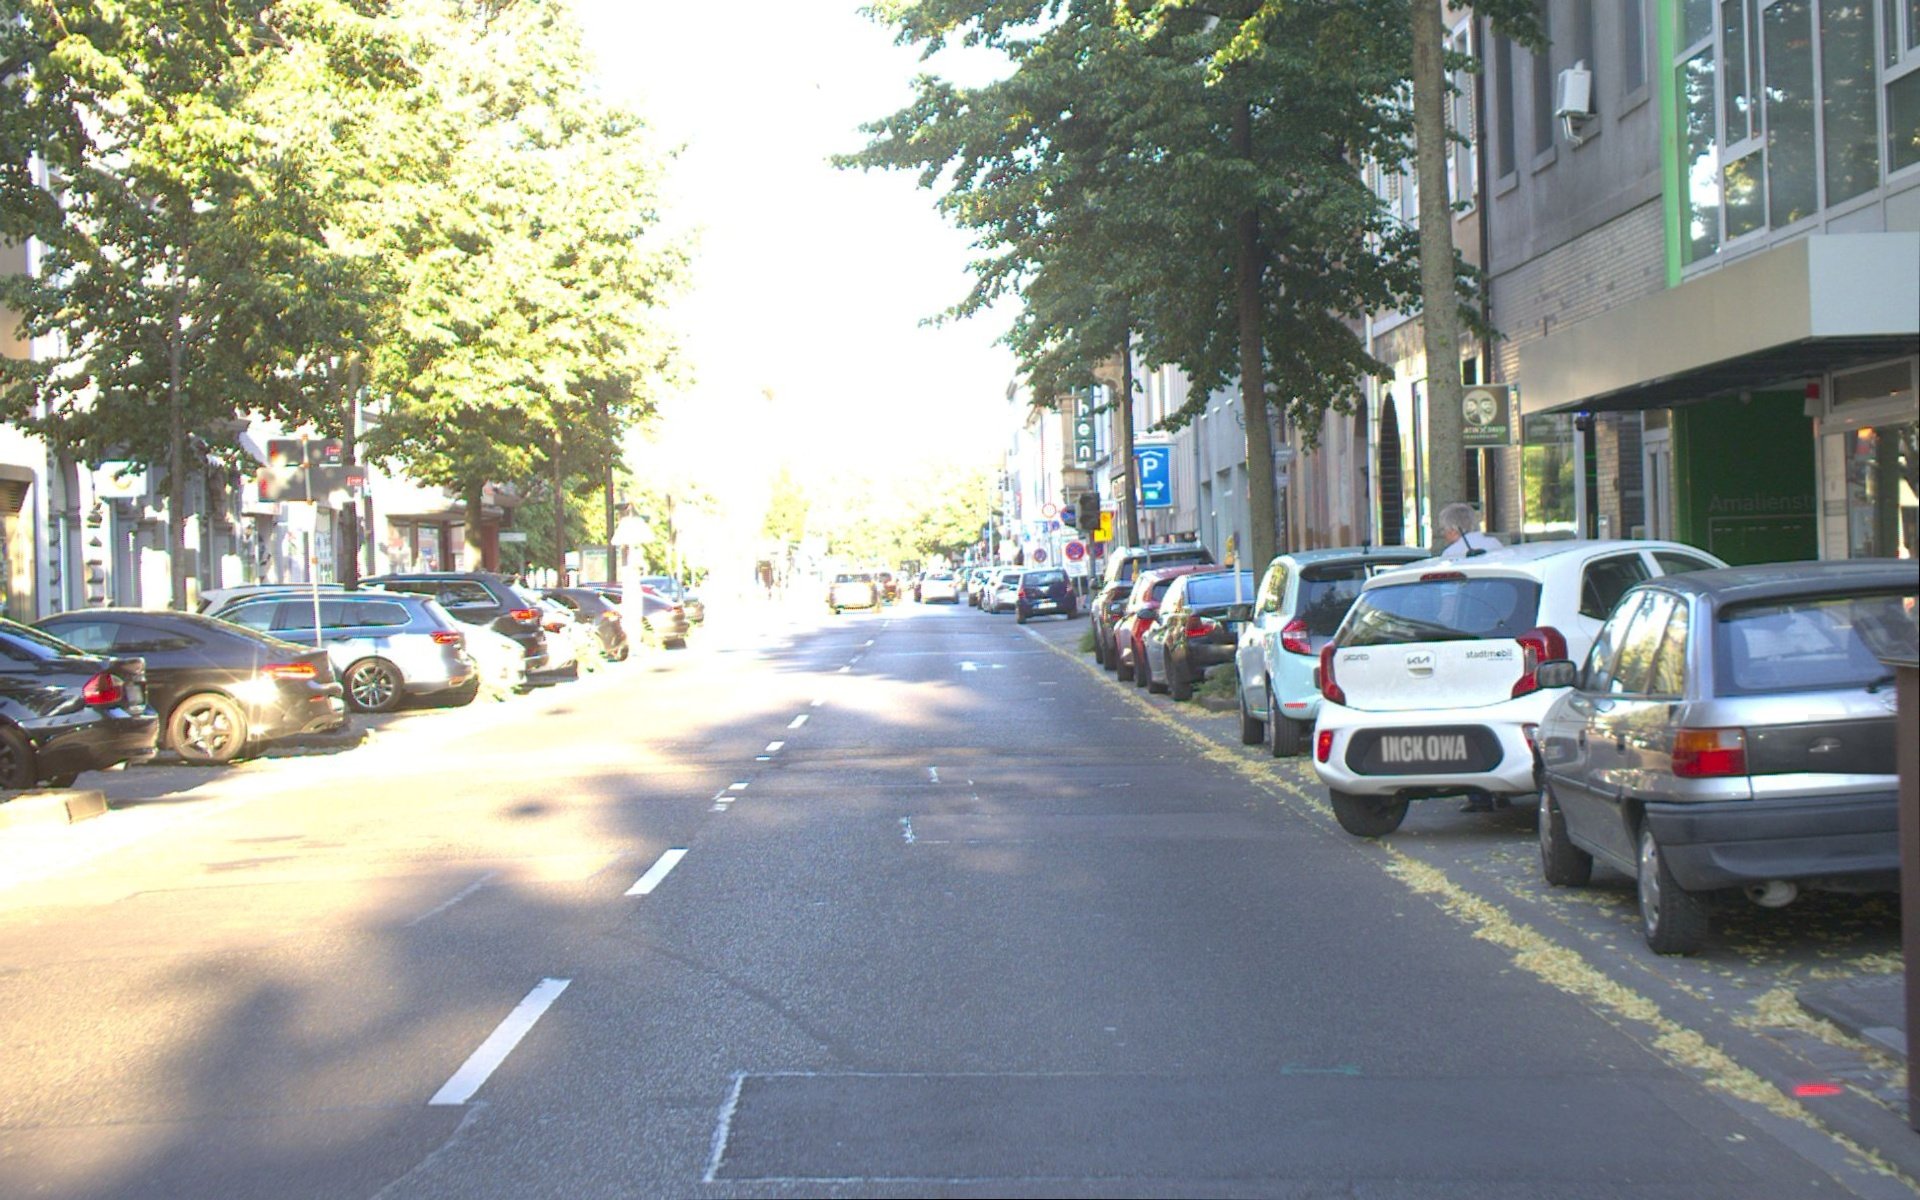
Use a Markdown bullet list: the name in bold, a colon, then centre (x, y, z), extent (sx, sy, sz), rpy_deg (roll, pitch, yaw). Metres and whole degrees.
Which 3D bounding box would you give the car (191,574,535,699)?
- **car**: centre (-8.049, 0.479, 46.611), extent (4.304, 1.592, 1.919), rpy_deg (-1, 1, 0)

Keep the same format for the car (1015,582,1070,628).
- **car**: centre (2.344, 0.135, 98.490), extent (1.513, 1.271, 3.303), rpy_deg (-1, 0, 1)

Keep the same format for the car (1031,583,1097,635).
- **car**: centre (2.508, 0.205, 83.637), extent (1.513, 1.197, 3.303), rpy_deg (-1, 0, 1)

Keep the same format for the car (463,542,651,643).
- **car**: centre (-10.068, -0.201, 86.160), extent (4.442, 2.426, 1.919), rpy_deg (-1, 0, 0)

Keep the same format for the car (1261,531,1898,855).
- **car**: centre (3.506, 0.434, 19.026), extent (1.674, 1.583, 3.814), rpy_deg (0, 1, 43)

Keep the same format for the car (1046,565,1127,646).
- **car**: centre (2.524, 0.094, 69.160), extent (1.513, 1.556, 3.773), rpy_deg (-1, 0, 1)

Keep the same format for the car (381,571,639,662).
- **car**: centre (-8.197, 0.285, 62.925), extent (4.442, 1.573, 1.919), rpy_deg (-1, 1, 0)

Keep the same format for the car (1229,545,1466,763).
- **car**: centre (2.981, 0.384, 26.949), extent (1.513, 1.572, 3.218), rpy_deg (-1, 0, 1)

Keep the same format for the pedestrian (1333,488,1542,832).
- **pedestrian**: centre (2.738, 0.327, 19.795), extent (0.916, 1.919, 1.018), rpy_deg (0, 1, -10)

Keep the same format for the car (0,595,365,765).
- **car**: centre (-7.824, 0.719, 31.339), extent (4.442, 1.444, 1.919), rpy_deg (-1, 1, 0)

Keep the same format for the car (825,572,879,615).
- **car**: centre (-4.075, -0.257, 130.216), extent (1.927, 1.566, 3.304), rpy_deg (-1, 0, -1)

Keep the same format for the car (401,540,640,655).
- **car**: centre (-8.661, -0.056, 68.064), extent (4.442, 2.192, 1.919), rpy_deg (-1, 0, 0)

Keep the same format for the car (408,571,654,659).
- **car**: centre (-8.166, 0.275, 65.749), extent (4.442, 1.573, 1.919), rpy_deg (-1, 1, 0)

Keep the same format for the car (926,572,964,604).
- **car**: centre (-0.706, -0.599, 165.553), extent (1.721, 1.470, 3.303), rpy_deg (-2, 0, 1)

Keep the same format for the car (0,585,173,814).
- **car**: centre (-8.133, 0.715, 24.817), extent (4.442, 1.562, 1.919), rpy_deg (-1, 1, 0)

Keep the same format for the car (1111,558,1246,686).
- **car**: centre (2.777, 0.251, 44.273), extent (1.513, 1.556, 3.514), rpy_deg (-1, 1, 1)

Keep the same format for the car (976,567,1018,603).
- **car**: centre (1.629, -0.664, 150.995), extent (1.752, 1.535, 3.303), rpy_deg (-2, 0, 1)

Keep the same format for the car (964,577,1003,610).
- **car**: centre (0.964, -0.285, 139.629), extent (1.513, 1.294, 3.303), rpy_deg (-1, 0, 1)

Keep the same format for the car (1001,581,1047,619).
- **car**: centre (2.158, -0.007, 116.644), extent (1.513, 1.259, 3.303), rpy_deg (-1, 0, 1)

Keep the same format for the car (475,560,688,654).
- **car**: centre (-8.334, 0.142, 75.998), extent (4.442, 1.953, 1.919), rpy_deg (-1, 0, 0)

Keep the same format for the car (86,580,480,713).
- **car**: centre (-8.259, 0.557, 42.212), extent (4.442, 1.518, 1.919), rpy_deg (-1, 1, 0)

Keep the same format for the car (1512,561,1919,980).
- **car**: centre (3.261, 0.575, 13.823), extent (1.543, 1.428, 3.678), rpy_deg (-1, 1, 1)

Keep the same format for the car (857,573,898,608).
- **car**: centre (-3.801, -0.453, 158.887), extent (1.752, 1.535, 3.303), rpy_deg (-2, 0, 1)

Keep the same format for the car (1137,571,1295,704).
- **car**: centre (2.873, 0.391, 39.178), extent (1.513, 1.401, 3.837), rpy_deg (-1, 1, 1)

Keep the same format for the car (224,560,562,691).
- **car**: centre (-7.989, 0.349, 48.712), extent (4.442, 1.753, 1.919), rpy_deg (-1, 0, 0)

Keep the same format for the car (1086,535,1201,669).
- **car**: centre (2.677, 0.014, 50.859), extent (1.513, 1.858, 4.235), rpy_deg (-1, 0, 1)

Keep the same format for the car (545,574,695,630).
- **car**: centre (-10.539, 0.056, 106.756), extent (4.442, 1.640, 1.919), rpy_deg (-1, 0, 0)

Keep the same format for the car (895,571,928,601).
- **car**: centre (-2.531, -0.737, 178.893), extent (1.570, 1.500, 3.303), rpy_deg (-2, 0, 1)

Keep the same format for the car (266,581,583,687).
- **car**: centre (-8.031, 0.491, 51.834), extent (4.442, 1.494, 1.919), rpy_deg (-1, 1, 0)
